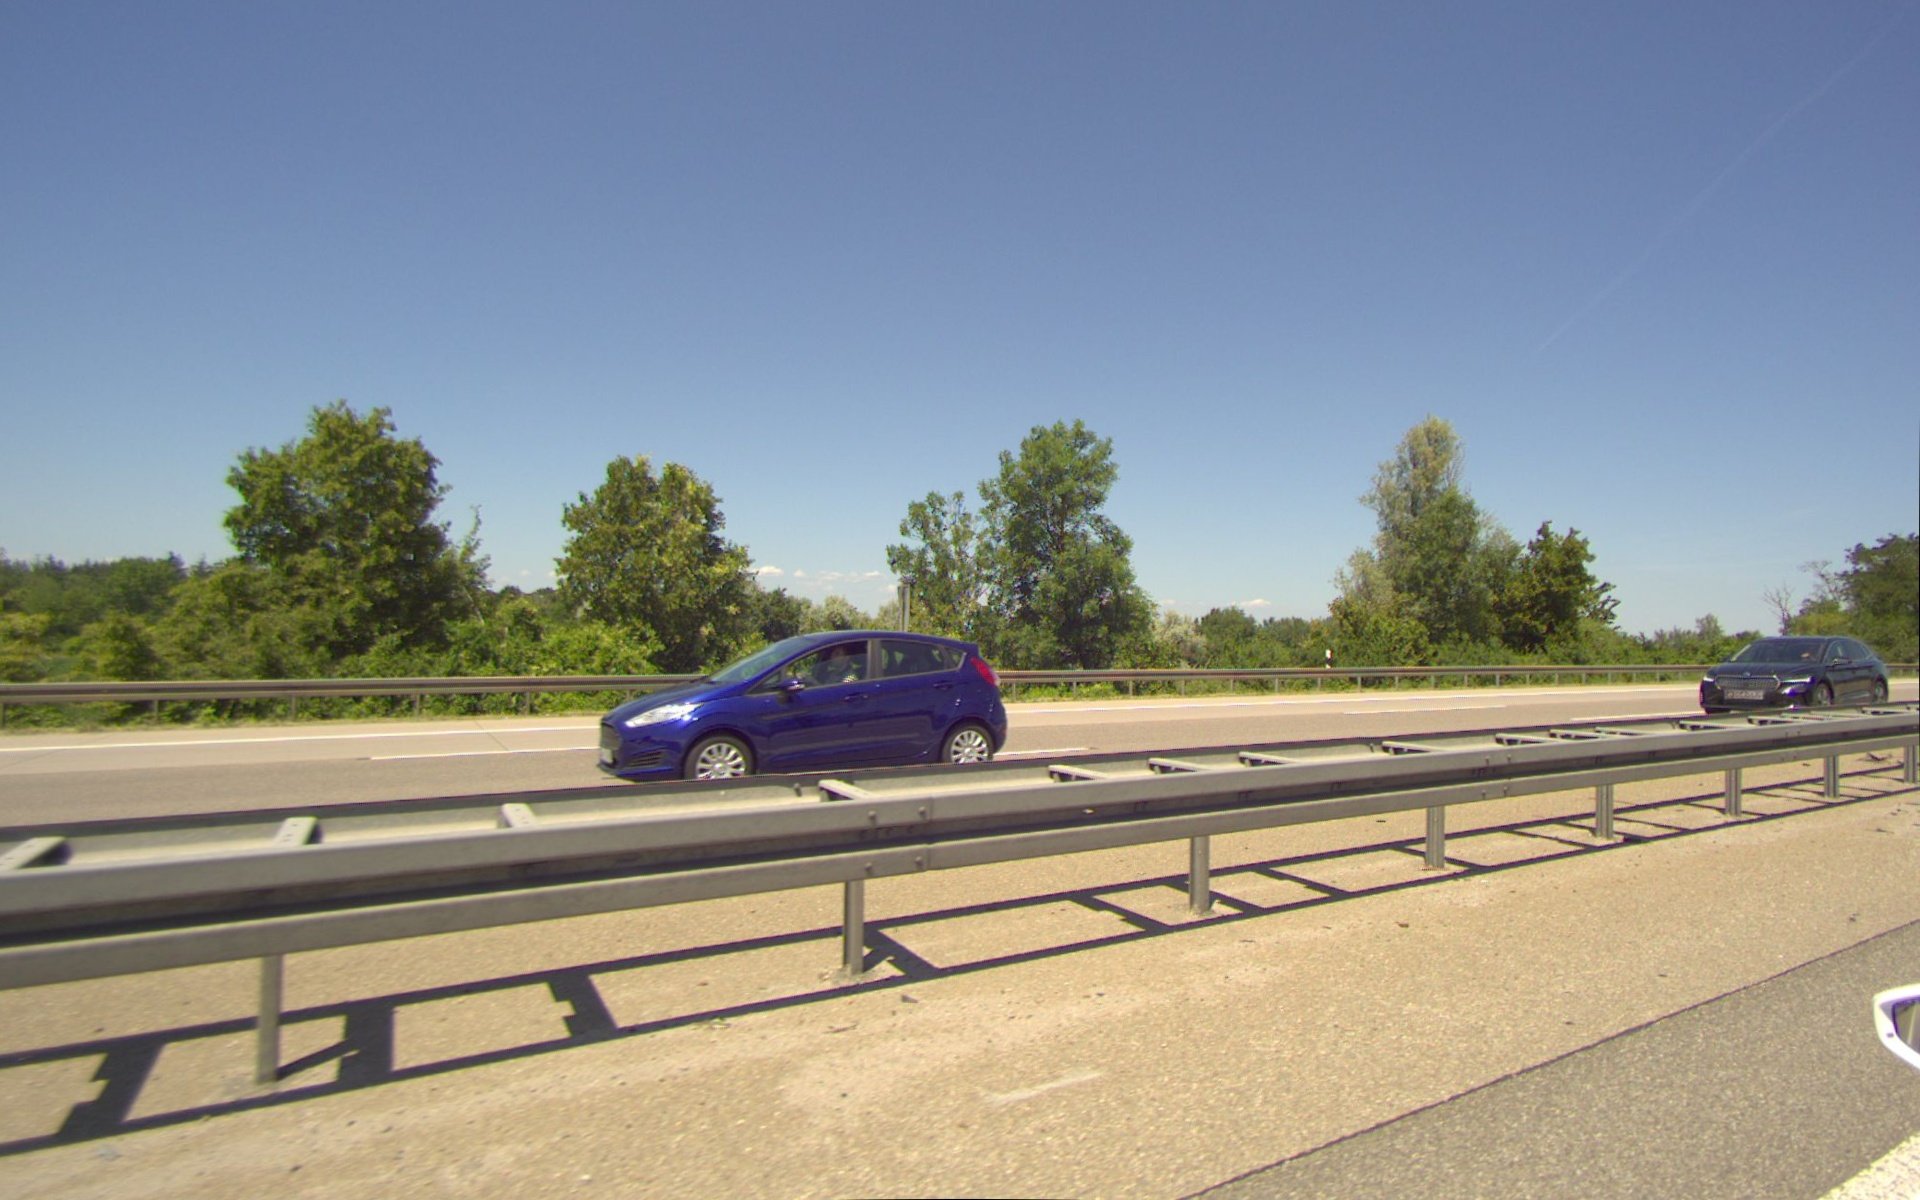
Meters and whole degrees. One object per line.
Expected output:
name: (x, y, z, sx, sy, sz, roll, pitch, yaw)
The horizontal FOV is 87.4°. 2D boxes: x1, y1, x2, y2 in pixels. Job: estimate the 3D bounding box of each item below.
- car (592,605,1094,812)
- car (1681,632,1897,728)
car: (-1.081, 0.967, 9.951, 4.546, 1.625, 1.984, 2, -4, -31)
car: (16.534, 1.525, 20.006, 4.357, 1.712, 1.984, 2, -2, -31)
